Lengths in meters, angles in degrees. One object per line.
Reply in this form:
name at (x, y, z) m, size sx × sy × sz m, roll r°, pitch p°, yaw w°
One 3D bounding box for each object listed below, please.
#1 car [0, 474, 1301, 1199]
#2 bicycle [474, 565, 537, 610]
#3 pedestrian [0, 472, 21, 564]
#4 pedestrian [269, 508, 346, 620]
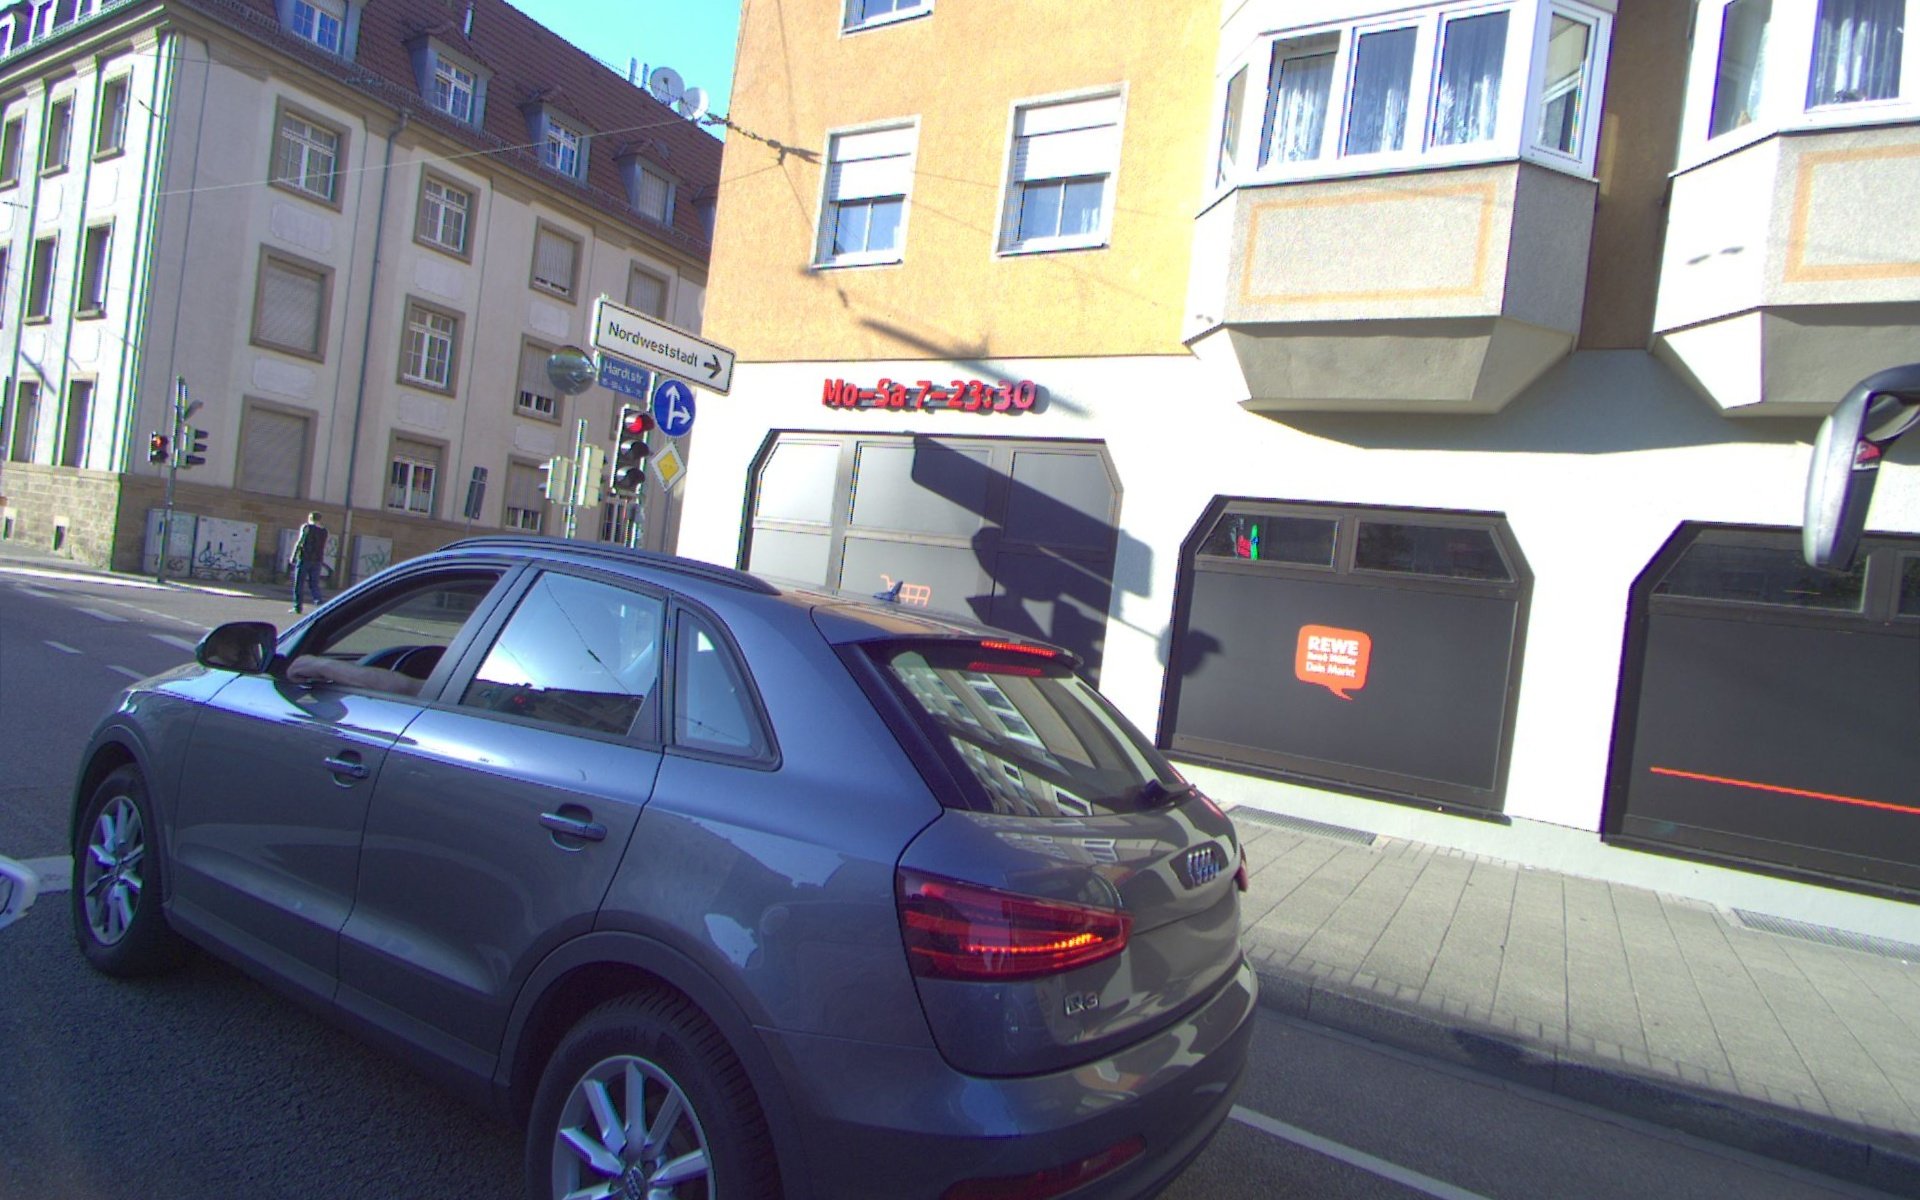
car at (-1.284, 0.615, 3.321) m, size 4.155 × 1.570 × 1.701 m, roll 7°, pitch -2°, yaw 32°
bicycle at (-12.558, -0.337, 27.814) m, size 1.499 × 1.029 × 0.247 m, roll 9°, pitch -2°, yaw -43°
pedestrian at (-19.570, -1.696, 20.102) m, size 0.810 × 1.783 × 0.837 m, roll 6°, pitch -1°, yaw 31°
pedestrian at (-11.085, -0.613, 17.094) m, size 0.812 × 1.778 × 0.630 m, roll 6°, pitch -1°, yaw 32°
